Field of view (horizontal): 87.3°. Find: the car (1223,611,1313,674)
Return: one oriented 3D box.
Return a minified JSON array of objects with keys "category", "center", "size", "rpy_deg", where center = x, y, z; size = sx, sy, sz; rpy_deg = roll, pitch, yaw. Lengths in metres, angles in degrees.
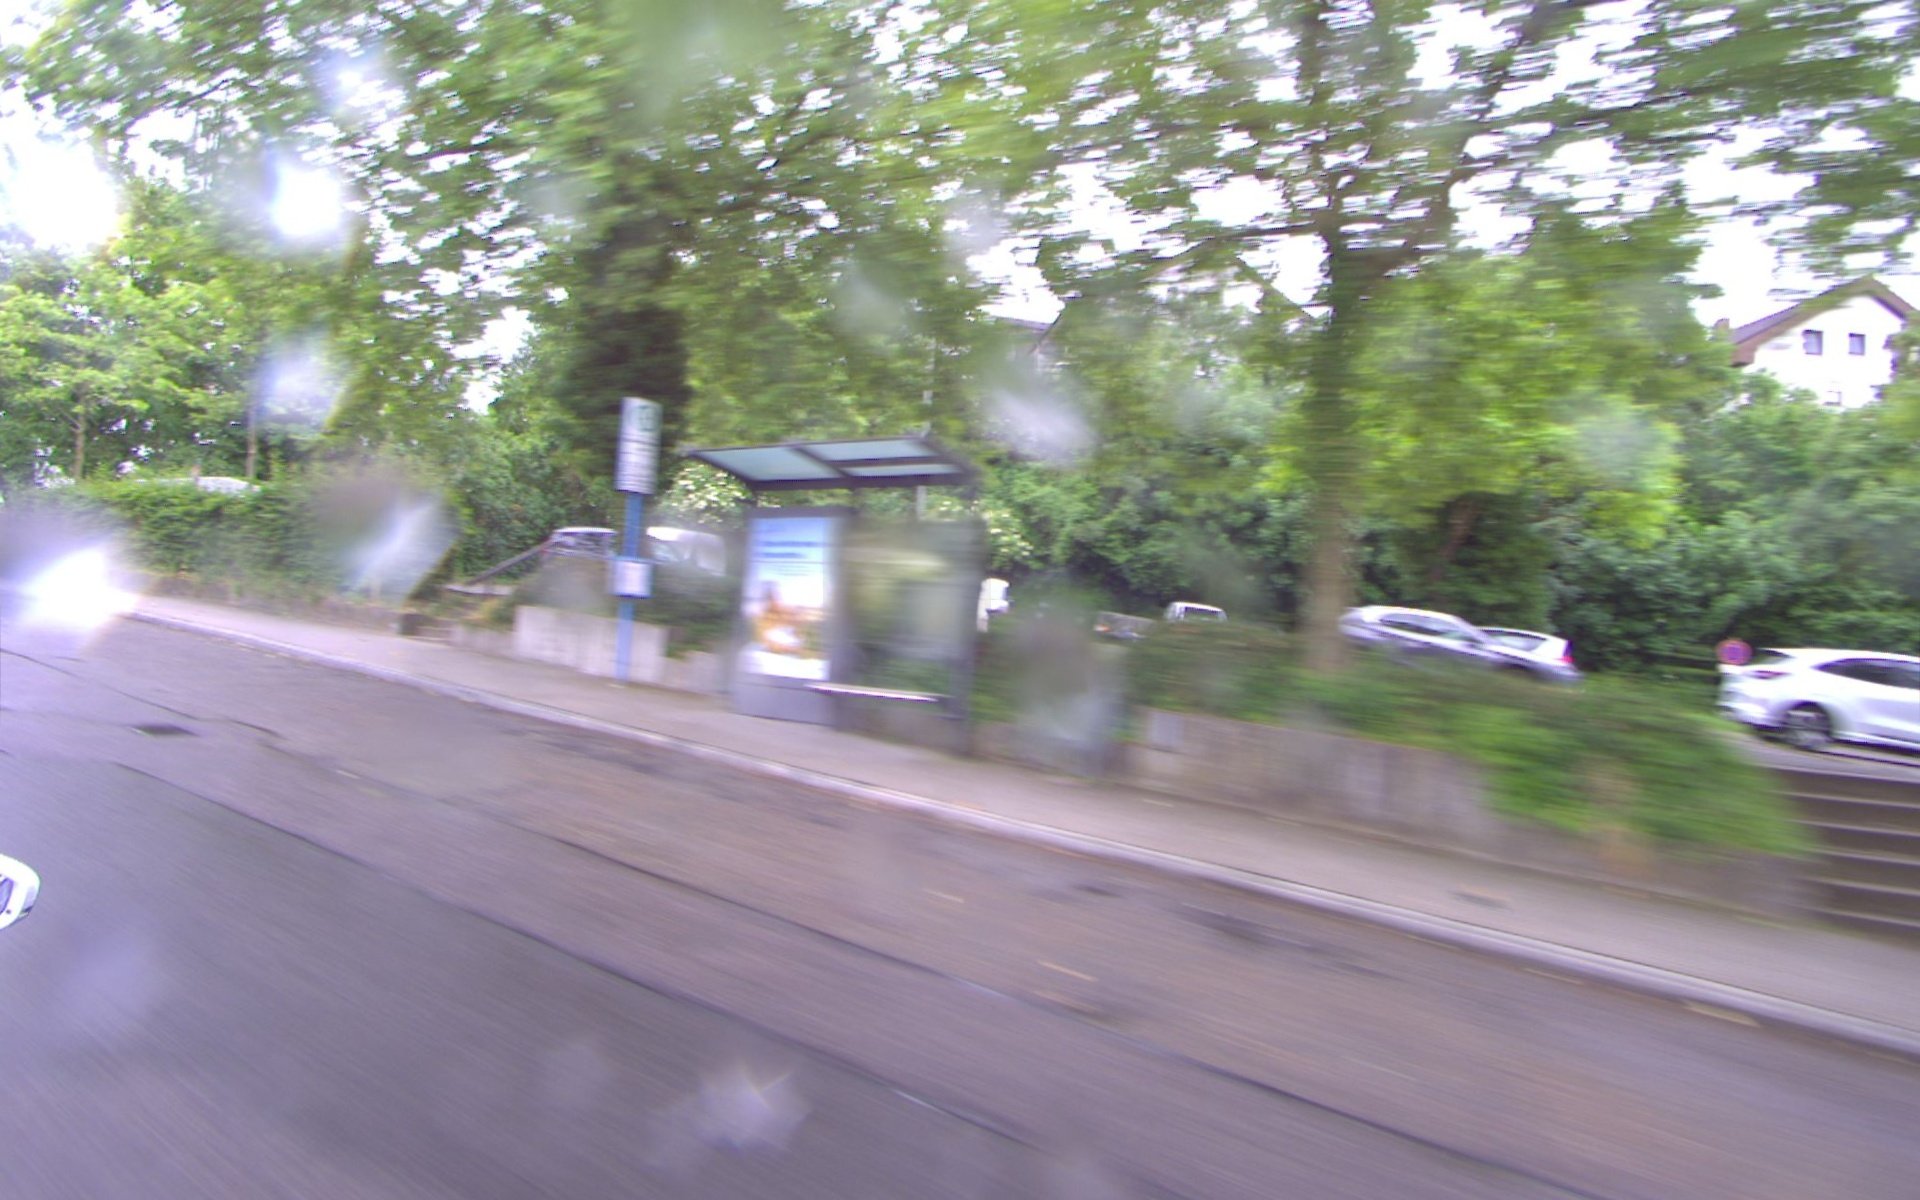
[{"category":"car","center":[10.629,1.502,35.018],"size":[1.770,1.789,4.185],"rpy_deg":[9,-2,3]}]

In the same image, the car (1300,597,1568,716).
[{"category":"car","center":[8.630,1.029,18.486],"size":[4.099,1.469,1.901],"rpy_deg":[8,-3,29]}]

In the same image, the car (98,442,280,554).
[{"category":"car","center":[-20.090,-2.658,26.214],"size":[4.060,2.253,1.999],"rpy_deg":[8,-1,27]}]

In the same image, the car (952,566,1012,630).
[{"category":"car","center":[0.728,-0.001,35.563],"size":[1.771,1.789,4.183],"rpy_deg":[9,-2,0]}]

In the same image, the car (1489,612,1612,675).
[{"category":"car","center":[20.445,1.522,35.048],"size":[1.770,1.789,4.185],"rpy_deg":[9,-2,3]}]

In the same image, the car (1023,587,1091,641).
[{"category":"car","center":[3.311,0.557,35.143],"size":[1.771,1.493,4.183],"rpy_deg":[9,-2,0]}]

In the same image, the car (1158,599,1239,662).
[{"category":"car","center":[8.254,1.116,35.146],"size":[1.770,1.789,4.185],"rpy_deg":[9,-2,3]}]

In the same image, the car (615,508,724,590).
[{"category":"car","center":[-9.878,-1.642,34.682],"size":[1.962,2.036,5.208],"rpy_deg":[9,-2,0]}]

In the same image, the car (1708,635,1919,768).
[{"category":"car","center":[13.523,1.598,14.386],"size":[4.098,1.469,1.901],"rpy_deg":[8,-2,27]}]

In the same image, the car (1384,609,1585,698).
[{"category":"car","center":[11.666,1.205,22.665],"size":[3.712,1.350,1.744],"rpy_deg":[8,-2,22]}]

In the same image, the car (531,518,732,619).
[{"category":"car","center":[-7.488,-0.718,22.917],"size":[4.098,1.600,1.827],"rpy_deg":[8,-2,27]}]

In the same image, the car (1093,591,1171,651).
[{"category":"car","center":[5.922,0.772,35.099],"size":[1.771,1.683,4.183],"rpy_deg":[9,-2,0]}]

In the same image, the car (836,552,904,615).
[{"category":"car","center":[-3.046,-0.501,34.981],"size":[1.771,1.683,4.183],"rpy_deg":[9,-2,0]}]

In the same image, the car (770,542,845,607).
[{"category":"car","center":[-5.210,-0.826,34.899],"size":[1.771,1.683,4.183],"rpy_deg":[9,-2,0]}]
